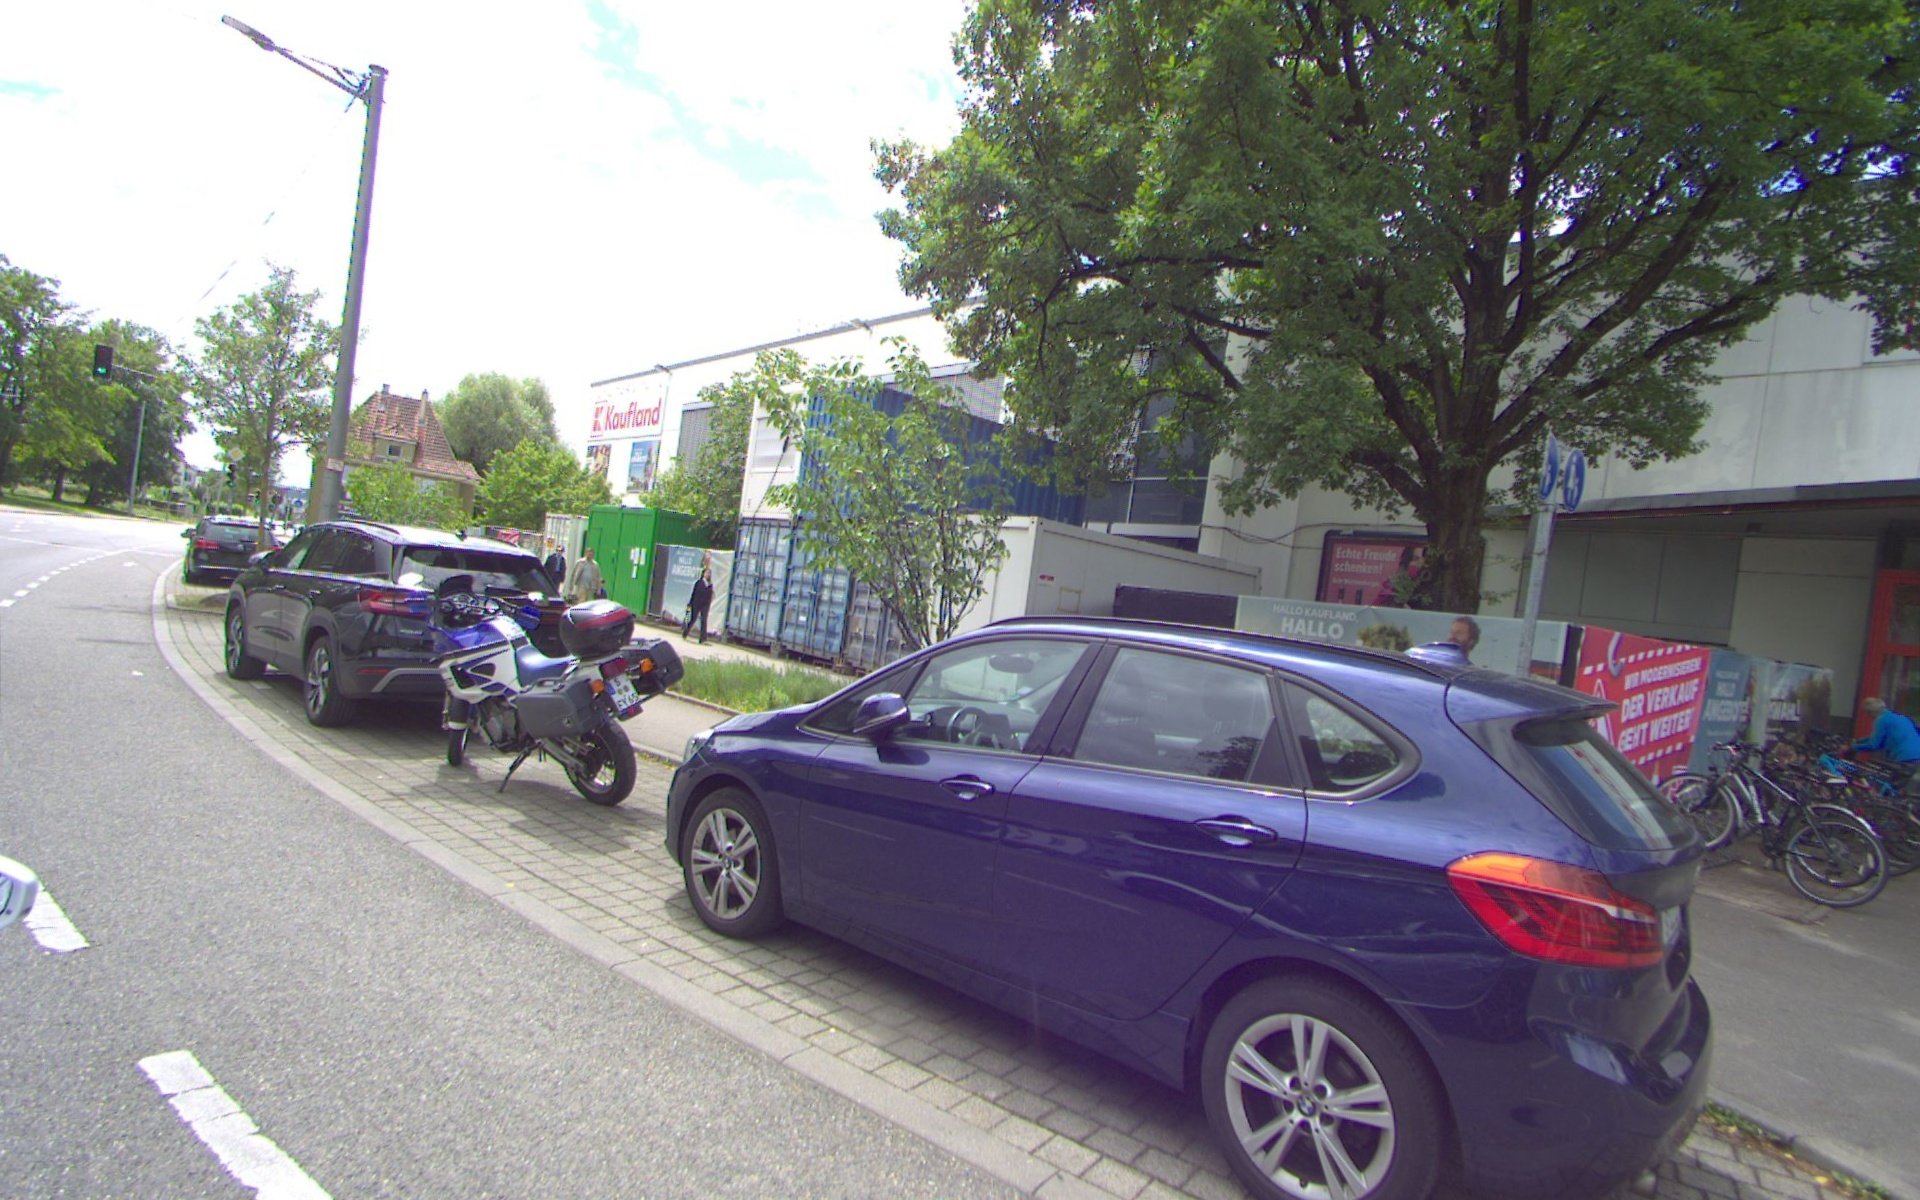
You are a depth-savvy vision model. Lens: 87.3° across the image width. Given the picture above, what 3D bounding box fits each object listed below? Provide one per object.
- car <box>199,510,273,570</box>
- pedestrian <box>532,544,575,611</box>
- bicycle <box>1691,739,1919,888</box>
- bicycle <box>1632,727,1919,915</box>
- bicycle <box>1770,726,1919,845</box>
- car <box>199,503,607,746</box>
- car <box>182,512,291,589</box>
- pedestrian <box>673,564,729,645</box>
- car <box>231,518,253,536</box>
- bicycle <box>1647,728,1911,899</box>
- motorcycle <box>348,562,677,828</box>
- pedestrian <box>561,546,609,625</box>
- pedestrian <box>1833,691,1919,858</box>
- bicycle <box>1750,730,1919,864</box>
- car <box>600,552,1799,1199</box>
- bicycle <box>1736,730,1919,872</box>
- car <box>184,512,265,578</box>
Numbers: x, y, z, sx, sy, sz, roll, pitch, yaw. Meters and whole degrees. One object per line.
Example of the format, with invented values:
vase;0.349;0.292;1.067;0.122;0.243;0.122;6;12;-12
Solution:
car;-23.103;-1.928;32.060;1.727;1.637;4.342;5;1;-37
pedestrian;-10.980;-0.610;27.165;0.649;1.718;0.835;7;0;-40
bicycle;8.413;2.055;9.934;0.518;1.053;1.778;6;1;-45
bicycle;6.856;1.815;8.564;0.446;1.169;1.778;7;-1;-28
bicycle;11.259;2.296;12.343;0.525;1.169;1.895;8;-1;-35
car;-5.425;0.090;9.453;4.781;1.642;1.874;7;1;43
car;-16.983;-1.205;23.501;1.755;1.496;4.882;4;1;-39
pedestrian;-5.594;0.100;21.759;0.740;1.637;0.759;7;0;-40
car;-79.641;-8.139;111.644;1.823;1.637;4.111;7;0;-36
bicycle;7.488;1.915;9.315;0.495;1.169;1.763;8;-1;-24
motorcycle;-3.002;0.522;6.618;2.228;1.323;1.069;7;2;41
pedestrian;-8.584;-0.336;23.017;0.648;1.717;0.717;7;0;-40
pedestrian;10.775;1.988;11.649;0.618;1.779;0.741;4;2;-36
bicycle;9.888;2.162;11.046;0.436;1.169;1.748;8;-1;-39
car;0.578;0.821;4.228;4.366;1.598;1.914;7;1;40
bicycle;9.352;2.100;10.643;0.422;1.169;1.644;7;-1;-38
car;-20.031;-1.526;27.421;1.559;1.511;3.960;6;0;-37
